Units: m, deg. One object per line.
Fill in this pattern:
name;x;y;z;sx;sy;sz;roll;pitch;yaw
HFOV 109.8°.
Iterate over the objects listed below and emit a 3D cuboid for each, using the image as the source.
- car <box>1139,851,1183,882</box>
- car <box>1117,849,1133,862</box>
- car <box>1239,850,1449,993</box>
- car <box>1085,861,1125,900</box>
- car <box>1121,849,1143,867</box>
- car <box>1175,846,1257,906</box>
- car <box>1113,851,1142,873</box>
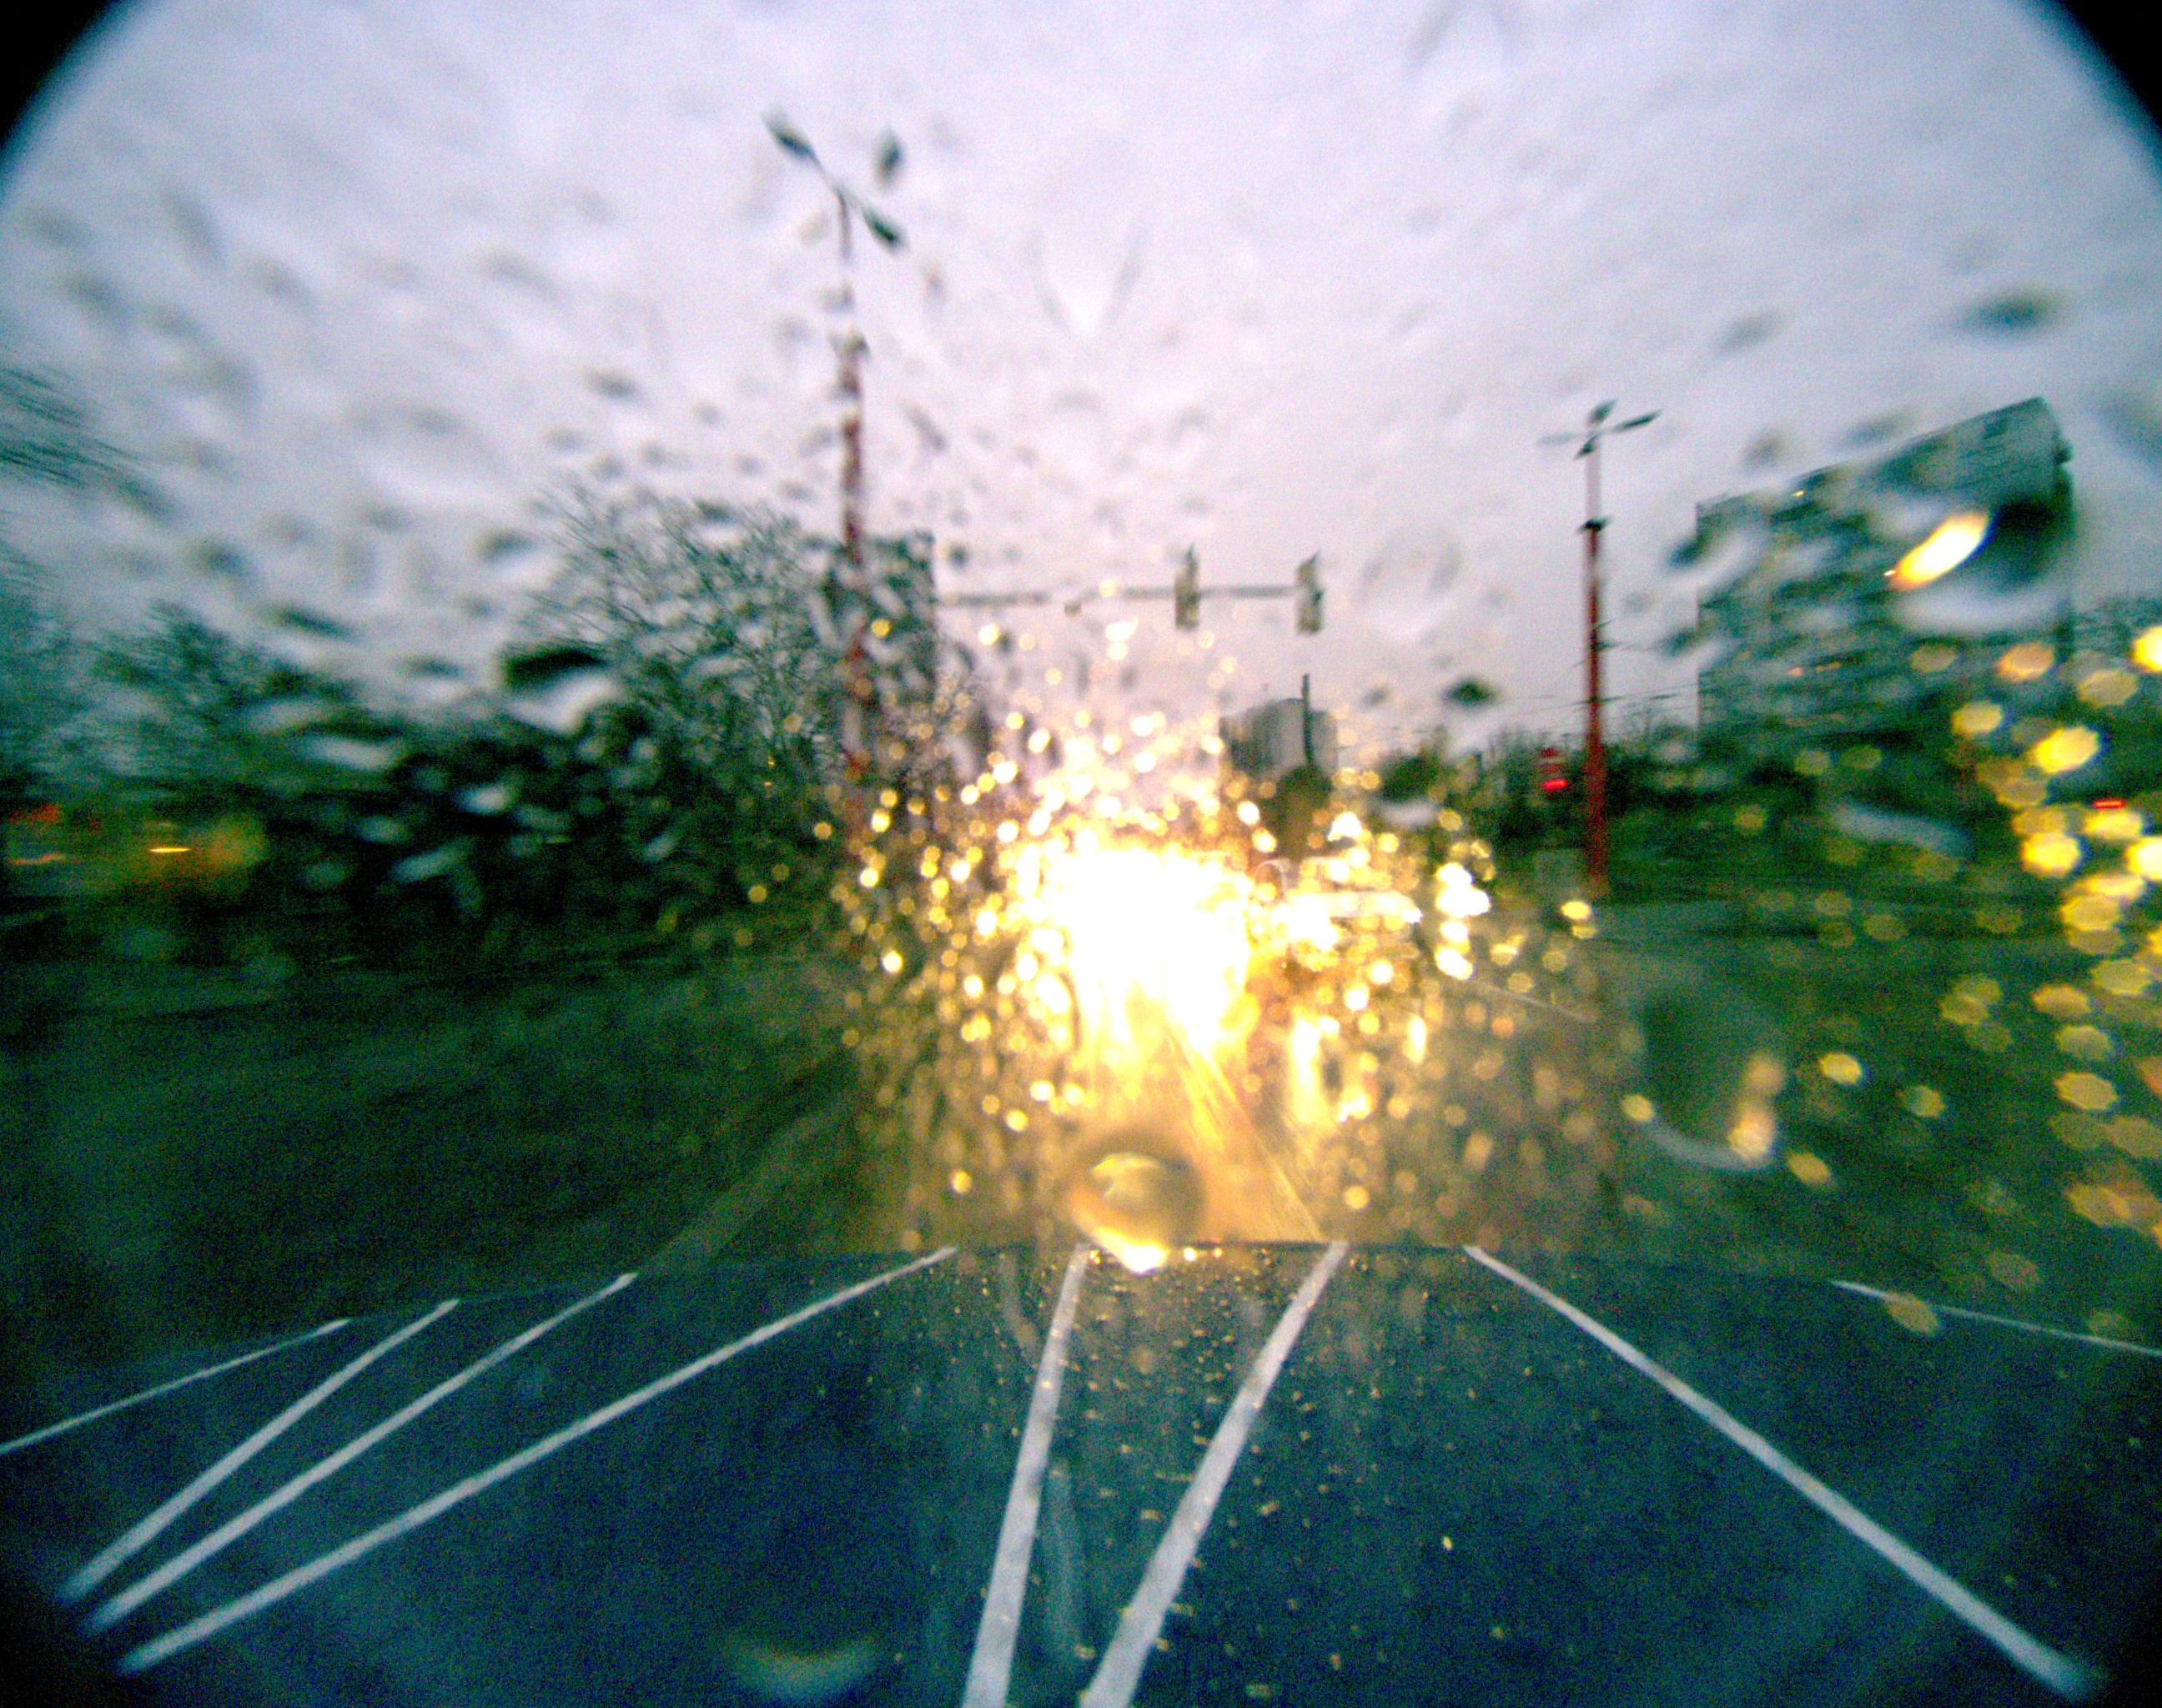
car;4.313;0.633;41.445;1.952;1.590;4.124;-1;0;1
car;5.843;0.136;101.204;1.998;1.605;4.000;-3;1;2
car;3.511;0.787;10.987;1.718;1.638;4.147;-1;0;2
car;1.046;1.182;34.867;1.679;1.590;4.044;-1;0;1
car;5.028;0.341;75.877;1.998;1.652;4.000;-3;1;2
car;3.864;0.581;22.388;1.694;1.530;4.190;-3;0;2
car;3.439;0.565;56.659;1.952;1.590;4.124;-1;0;1
